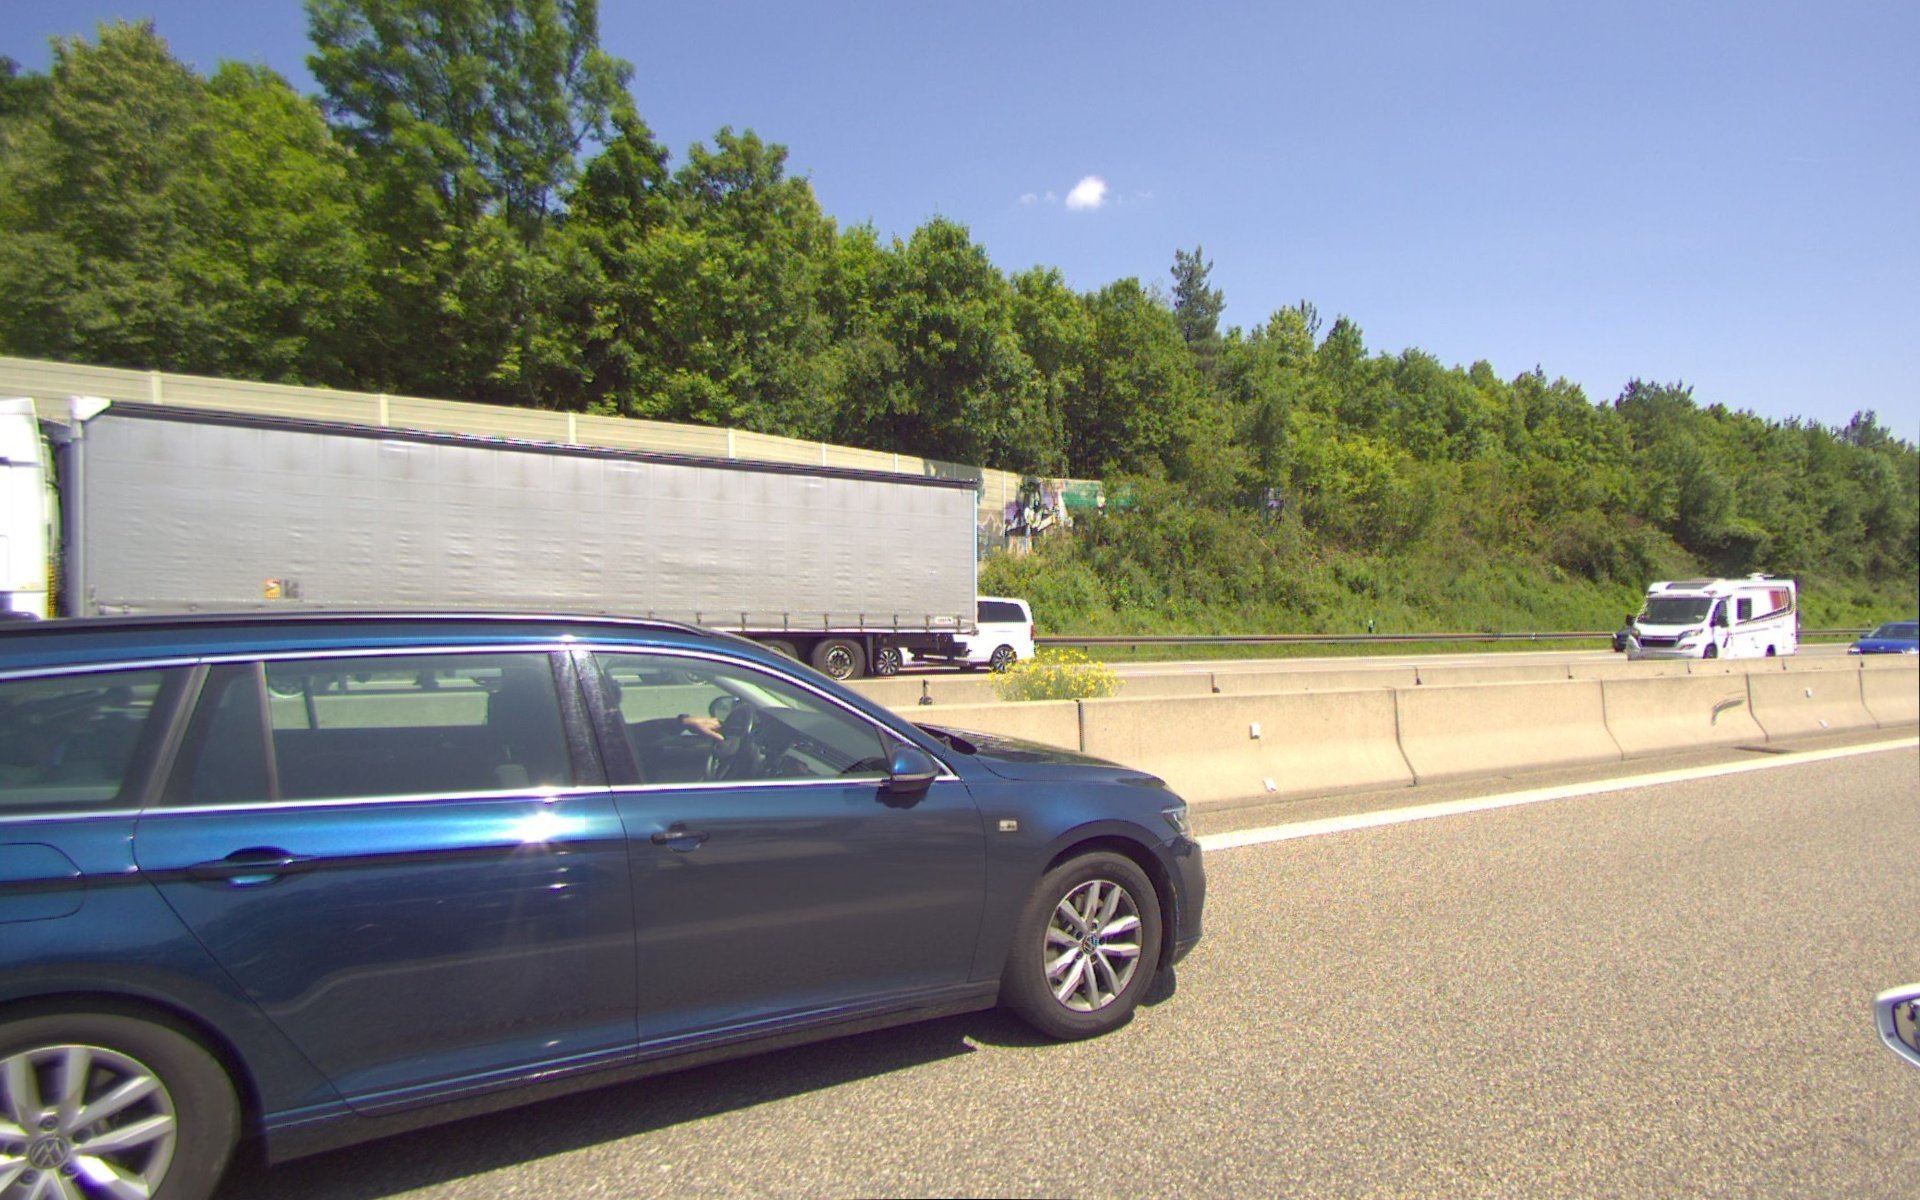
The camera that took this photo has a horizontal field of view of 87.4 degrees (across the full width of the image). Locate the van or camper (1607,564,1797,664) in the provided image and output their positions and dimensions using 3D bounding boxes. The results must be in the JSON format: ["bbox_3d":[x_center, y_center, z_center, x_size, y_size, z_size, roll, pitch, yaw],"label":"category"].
[{"bbox_3d":[22.570,0.474,30.432,6.728,2.772,2.258,2,-1,-31],"label":"van or camper"}]

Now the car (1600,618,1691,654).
[{"bbox_3d":[29.798,1.532,43.655,4.337,1.481,1.570,1,-1,-30],"label":"car"}]

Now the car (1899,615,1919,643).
[{"bbox_3d":[48.696,1.455,49.897,4.668,1.365,1.792,1,0,-31],"label":"car"}]

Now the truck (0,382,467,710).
[{"bbox_3d":[-11.085,-0.602,14.077,7.233,3.960,2.798,2,-1,-32],"label":"truck"}]

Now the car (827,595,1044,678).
[{"bbox_3d":[-0.541,0.863,24.418,5.047,1.834,1.801,1,-1,-30],"label":"car"}]

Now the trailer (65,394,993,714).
[{"bbox_3d":[-5.917,-0.385,17.226,13.670,3.960,2.798,2,-1,-32],"label":"trailer"}]

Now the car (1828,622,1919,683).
[{"bbox_3d":[26.271,1.423,28.191,4.081,1.558,1.702,1,-1,-31],"label":"car"}]

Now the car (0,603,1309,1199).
[{"bbox_3d":[-1.111,0.746,3.437,4.673,1.447,1.724,0,0,-30],"label":"car"}]
